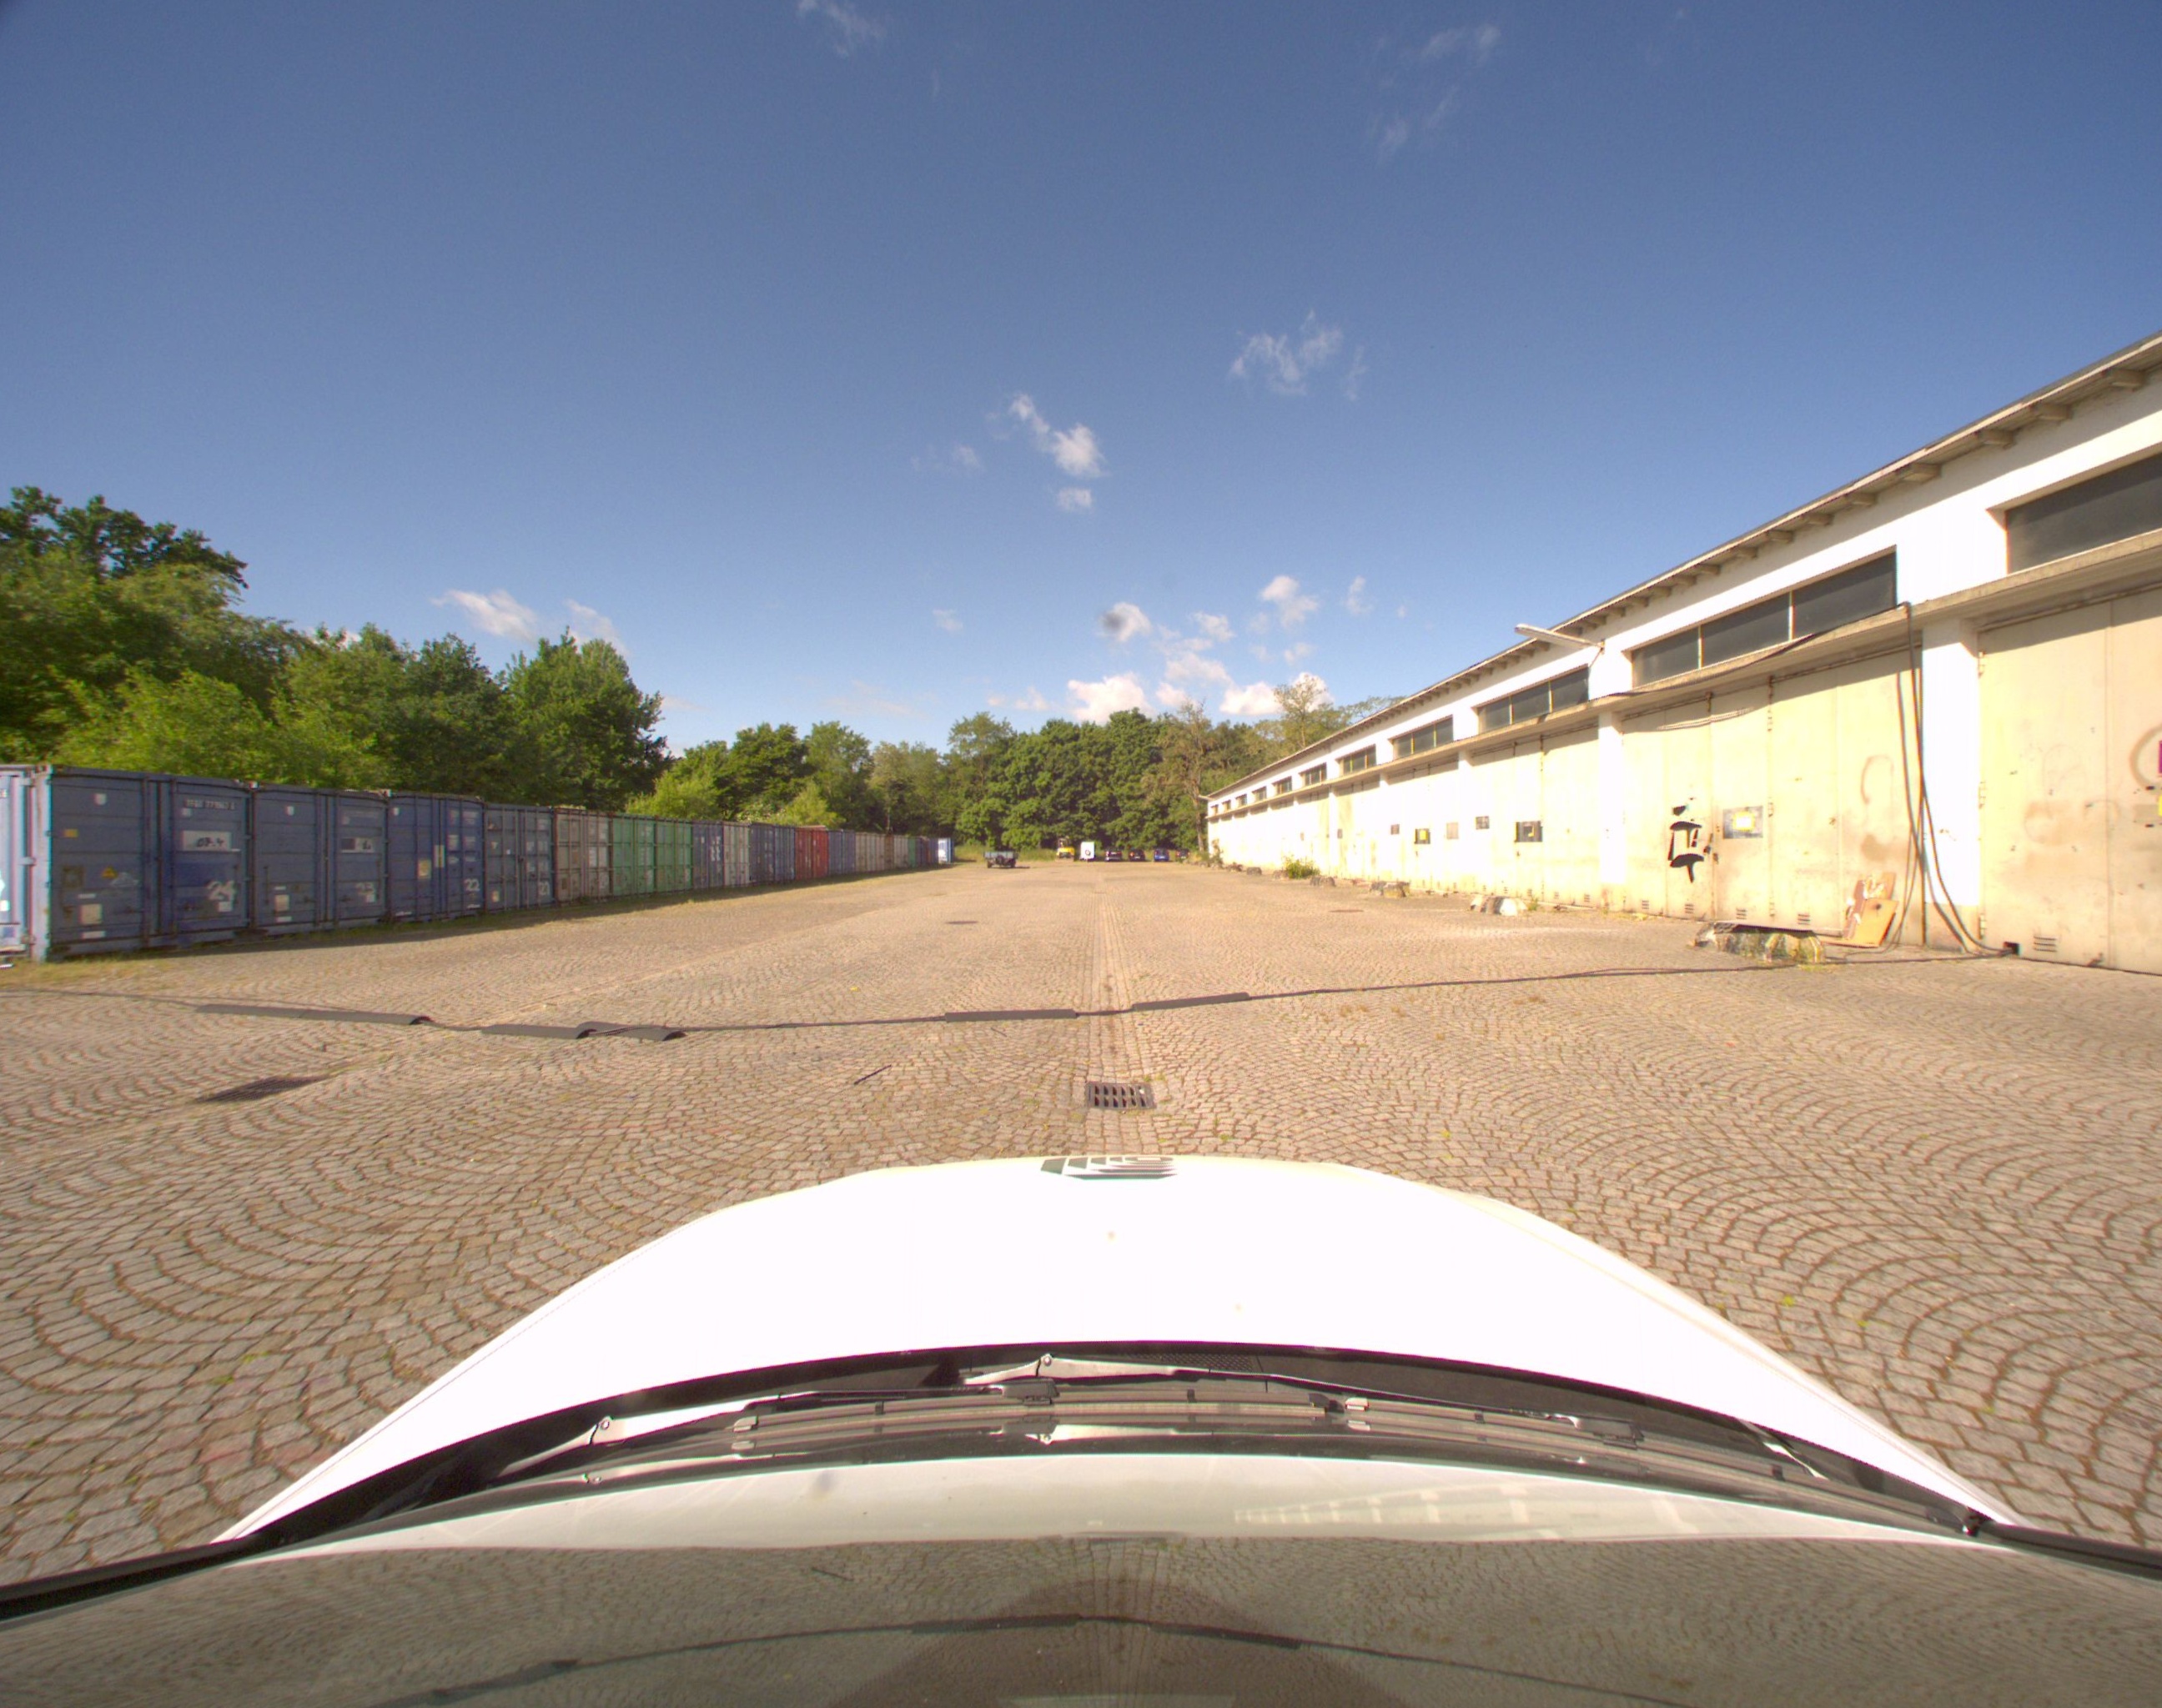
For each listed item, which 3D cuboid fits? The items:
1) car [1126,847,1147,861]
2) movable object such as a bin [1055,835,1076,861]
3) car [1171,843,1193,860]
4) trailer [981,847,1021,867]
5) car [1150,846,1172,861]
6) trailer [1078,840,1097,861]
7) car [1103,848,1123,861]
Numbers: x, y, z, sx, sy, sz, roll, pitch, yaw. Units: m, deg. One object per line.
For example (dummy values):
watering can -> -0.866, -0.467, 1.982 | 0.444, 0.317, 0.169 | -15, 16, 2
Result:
car -> 5.917, -0.007, 86.860 | 1.987, 1.424, 4.001 | -1, 0, 1
movable object such as a bin -> -1.696, -0.663, 88.532 | 2.226, 2.657, 3.998 | -1, 0, -1
car -> 10.877, -0.233, 88.058 | 1.987, 1.772, 4.001 | -1, 0, 1
trailer -> -6.742, 0.240, 69.254 | 2.782, 1.646, 5.620 | -1, 0, 0
car -> 8.499, -0.077, 86.830 | 1.987, 1.466, 4.001 | -1, 0, 1
trailer -> 0.748, -0.402, 87.757 | 1.987, 2.162, 4.432 | -1, 0, 1
car -> 3.390, 0.050, 86.505 | 1.987, 1.258, 4.001 | -1, 0, 1
